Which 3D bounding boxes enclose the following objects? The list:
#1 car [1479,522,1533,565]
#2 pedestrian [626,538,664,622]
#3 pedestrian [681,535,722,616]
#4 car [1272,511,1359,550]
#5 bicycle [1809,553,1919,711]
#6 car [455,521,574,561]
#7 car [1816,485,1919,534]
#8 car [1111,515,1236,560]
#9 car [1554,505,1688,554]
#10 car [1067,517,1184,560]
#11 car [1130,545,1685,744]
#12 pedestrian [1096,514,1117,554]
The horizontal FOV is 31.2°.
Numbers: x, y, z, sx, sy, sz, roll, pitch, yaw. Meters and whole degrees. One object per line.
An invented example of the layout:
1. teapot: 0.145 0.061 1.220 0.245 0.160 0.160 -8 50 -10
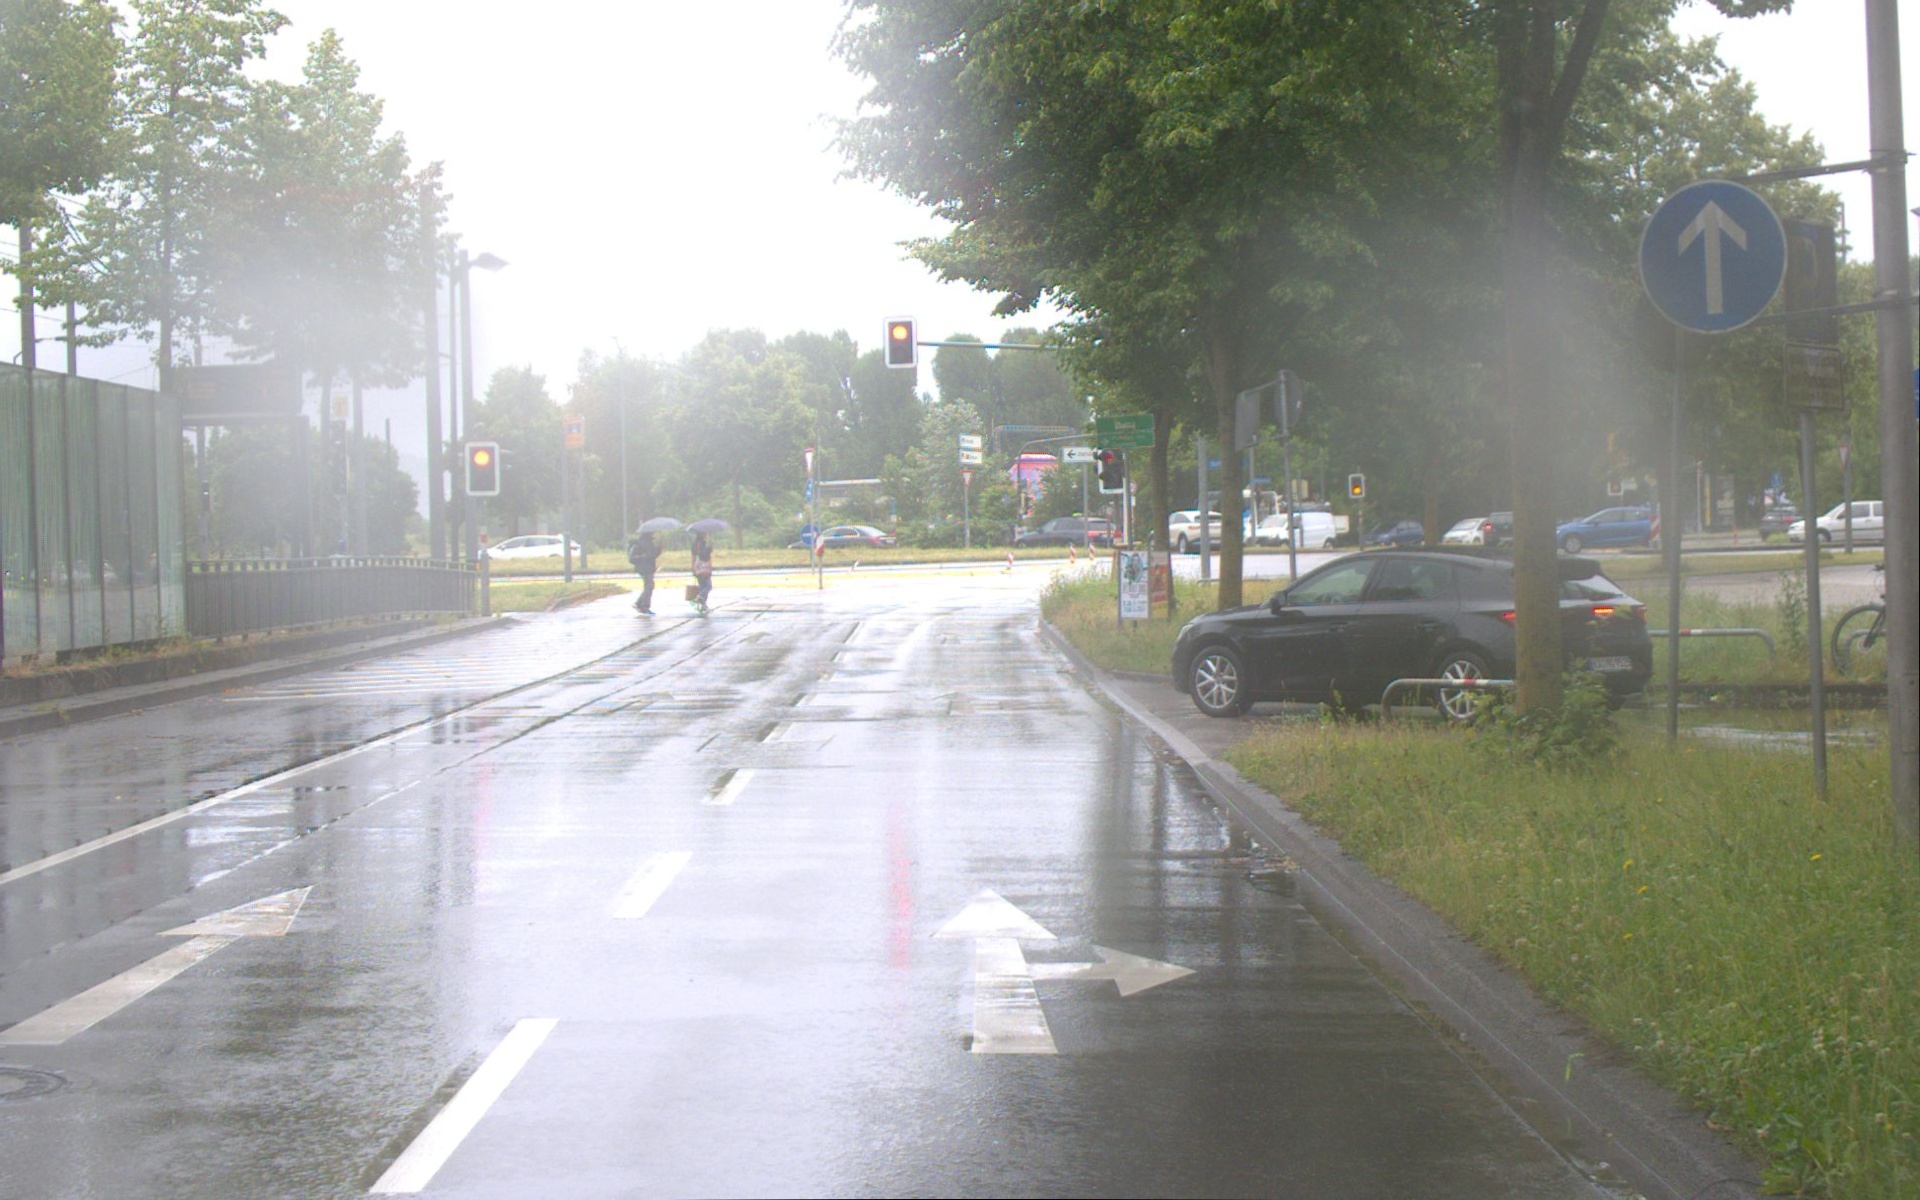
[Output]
1. car: 19.437 -2.022 122.307 1.619 1.449 3.985 -1 1 13
2. pedestrian: -5.757 -0.373 62.796 0.621 1.517 0.741 0 1 -1
3. pedestrian: -4.793 -0.453 63.807 0.680 1.456 0.573 -2 0 -3
4. car: 16.012 -3.128 154.736 1.801 1.656 4.124 1 1 42
5. bicycle: 8.367 0.273 29.896 1.845 1.342 0.532 0 2 26
6. car: -17.602 -2.335 135.969 4.607 1.449 1.624 -1 1 -7
7. car: 29.234 -2.873 108.517 3.974 1.449 1.623 -1 1 0
8. car: 7.261 -2.121 117.267 4.109 1.449 1.619 0 2 42
9. car: 20.983 -2.248 109.250 3.975 1.449 1.623 -1 1 4
10. car: 5.871 -2.173 122.341 3.984 1.449 1.620 0 2 40
11. car: 3.582 0.299 28.116 1.828 1.415 4.344 -4 3 -42
12. pedestrian: 4.766 -2.140 111.602 0.453 1.300 0.485 0 2 40
